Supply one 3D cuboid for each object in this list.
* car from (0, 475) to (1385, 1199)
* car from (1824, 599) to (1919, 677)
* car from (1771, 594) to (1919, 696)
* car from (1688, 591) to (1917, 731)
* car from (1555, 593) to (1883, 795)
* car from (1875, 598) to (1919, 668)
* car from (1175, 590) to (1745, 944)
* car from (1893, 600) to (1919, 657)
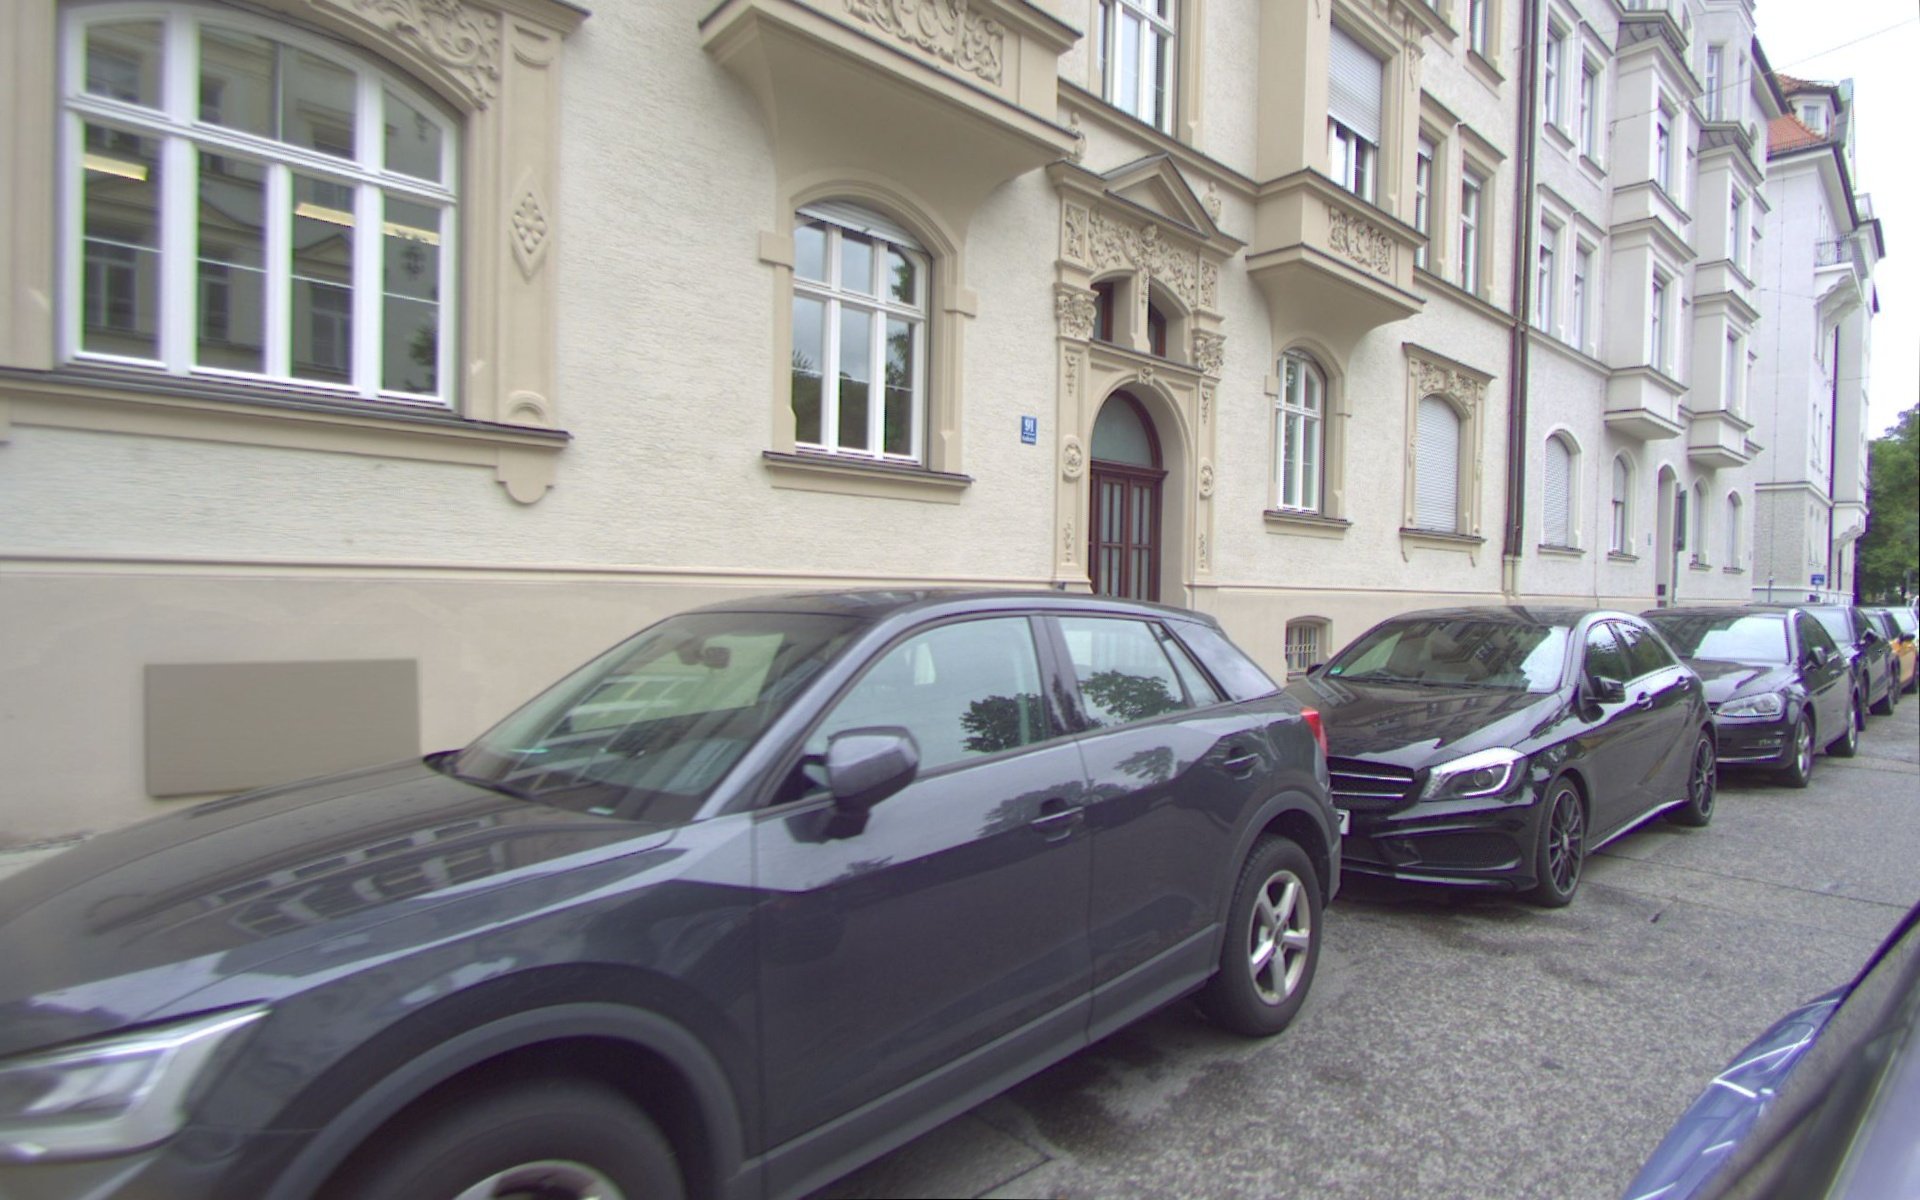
[{"bbox_3d":[-0.423,0.628,3.097,1.792,1.517,4.016,-1,-1,45],"label":"car"},{"bbox_3d":[18.947,0.707,20.487,3.931,1.408,1.713,-1,1,-42],"label":"car"},{"bbox_3d":[14.925,0.658,16.798,3.534,1.458,1.660,-1,2,-41],"label":"car"},{"bbox_3d":[11.171,0.669,13.335,3.890,1.535,1.746,-1,2,-42],"label":"car"},{"bbox_3d":[7.115,0.675,9.339,3.930,1.435,1.644,-1,1,-41],"label":"car"},{"bbox_3d":[22.442,0.712,23.379,4.018,1.489,1.712,-1,1,-44],"label":"car"},{"bbox_3d":[3.253,0.697,6.224,3.953,1.415,1.745,-2,1,-41],"label":"car"},{"bbox_3d":[25.992,0.715,26.805,4.018,1.408,1.712,-1,1,-44],"label":"car"}]
